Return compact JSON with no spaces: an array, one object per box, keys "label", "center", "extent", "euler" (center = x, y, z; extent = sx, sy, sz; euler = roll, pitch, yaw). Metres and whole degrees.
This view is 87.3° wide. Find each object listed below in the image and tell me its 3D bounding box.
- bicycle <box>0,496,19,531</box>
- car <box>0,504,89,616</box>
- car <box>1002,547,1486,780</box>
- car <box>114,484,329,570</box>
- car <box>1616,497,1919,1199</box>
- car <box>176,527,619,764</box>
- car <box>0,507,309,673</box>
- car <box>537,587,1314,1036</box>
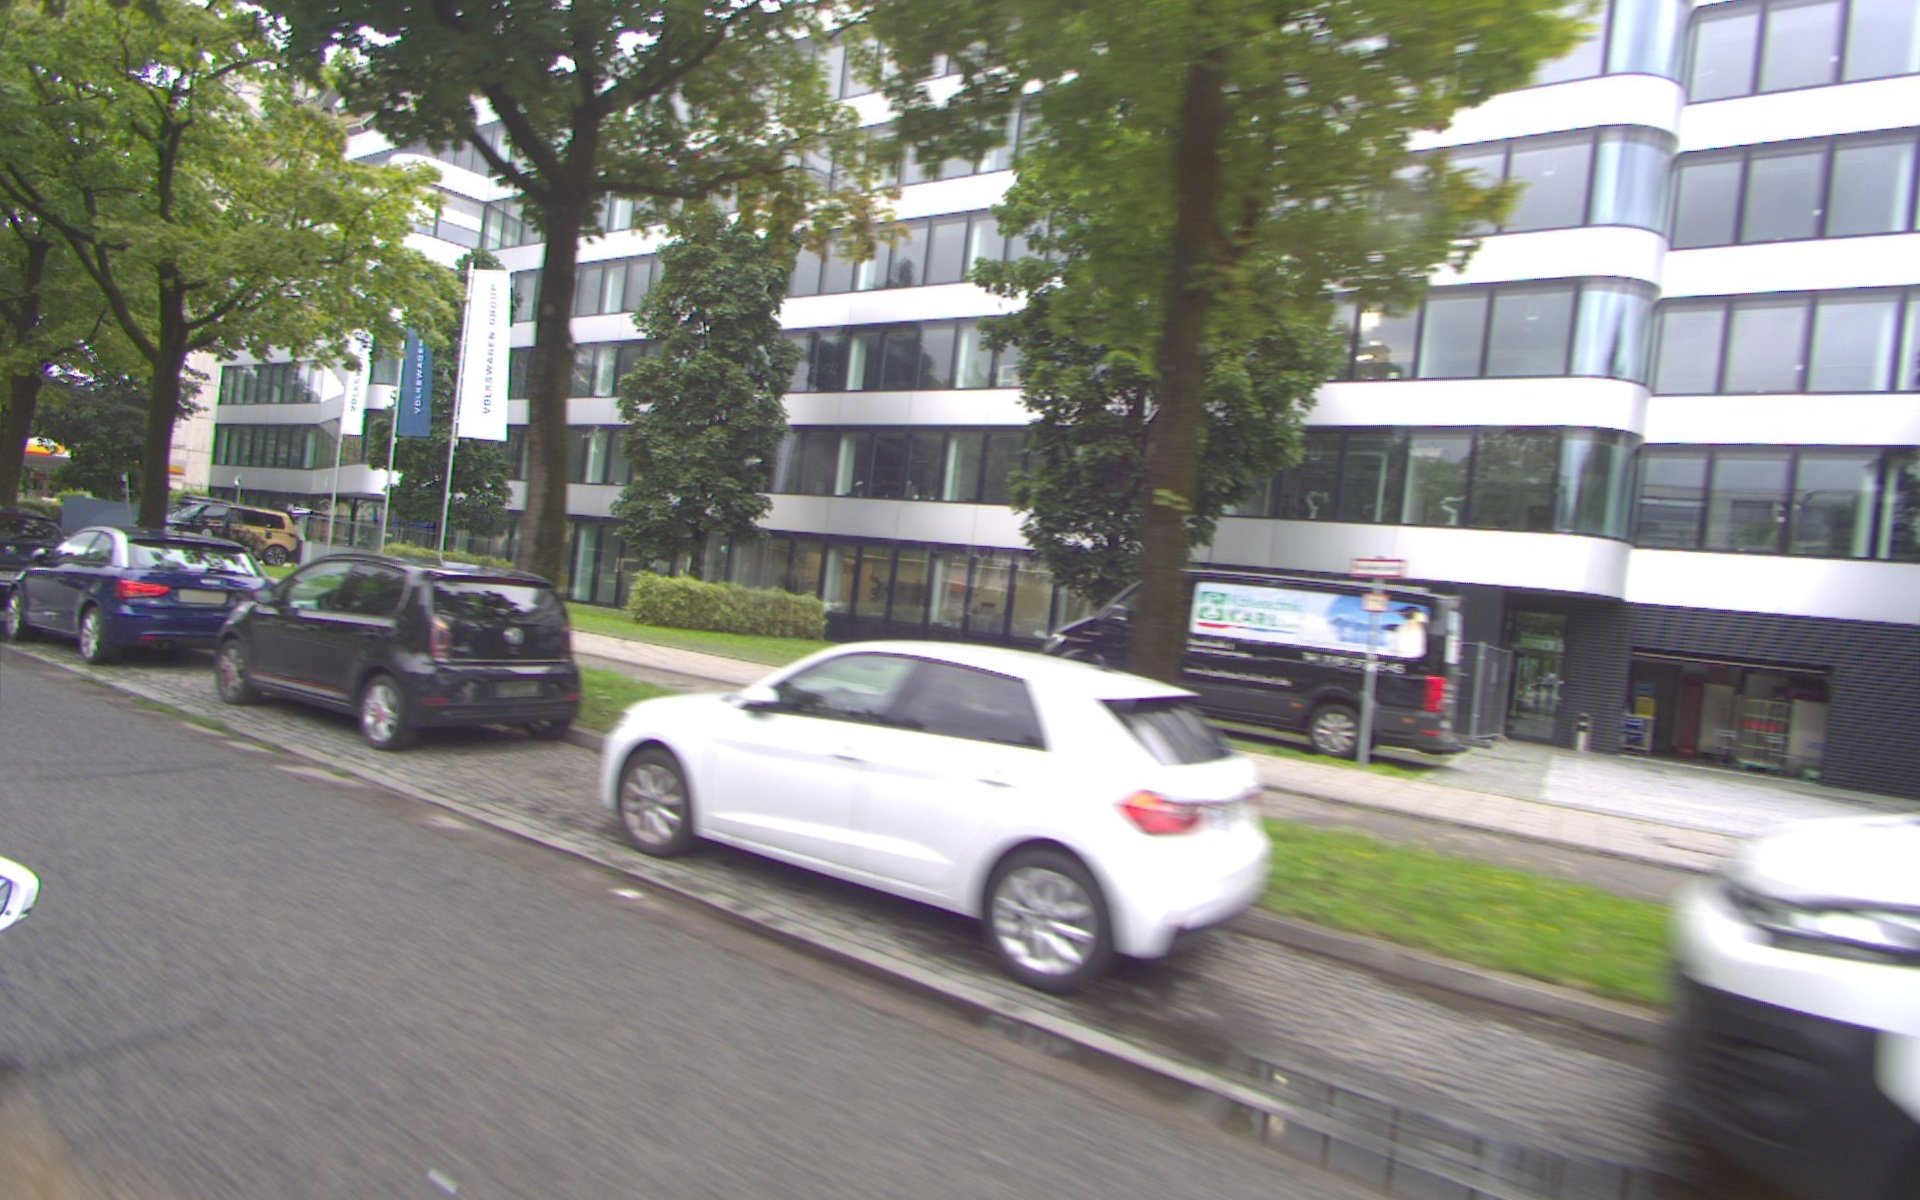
[{"label":"bicycle","center":[-35.675,-3.256,37.155],"extent":[2.209,1.198,0.749],"euler":[7,1,32]},{"label":"car","center":[-14.800,-0.745,14.963],"extent":[4.441,1.426,1.702],"euler":[7,1,35]},{"label":"car","center":[3.945,0.743,14.496],"extent":[6.162,2.336,2.267],"euler":[7,1,30]},{"label":"car","center":[-25.256,-2.443,34.663],"extent":[2.111,2.109,5.477],"euler":[7,0,31]},{"label":"car","center":[4.873,1.123,2.239],"extent":[5.464,2.185,1.988],"euler":[7,1,32]},{"label":"car","center":[-5.070,0.301,8.928],"extent":[3.913,1.465,1.703],"euler":[7,1,32]},{"label":"car","center":[-9.439,-0.150,11.544],"extent":[4.053,1.439,1.703],"euler":[7,1,32]},{"label":"car","center":[-0.358,0.881,5.826],"extent":[4.163,1.415,1.703],"euler":[7,1,32]}]
